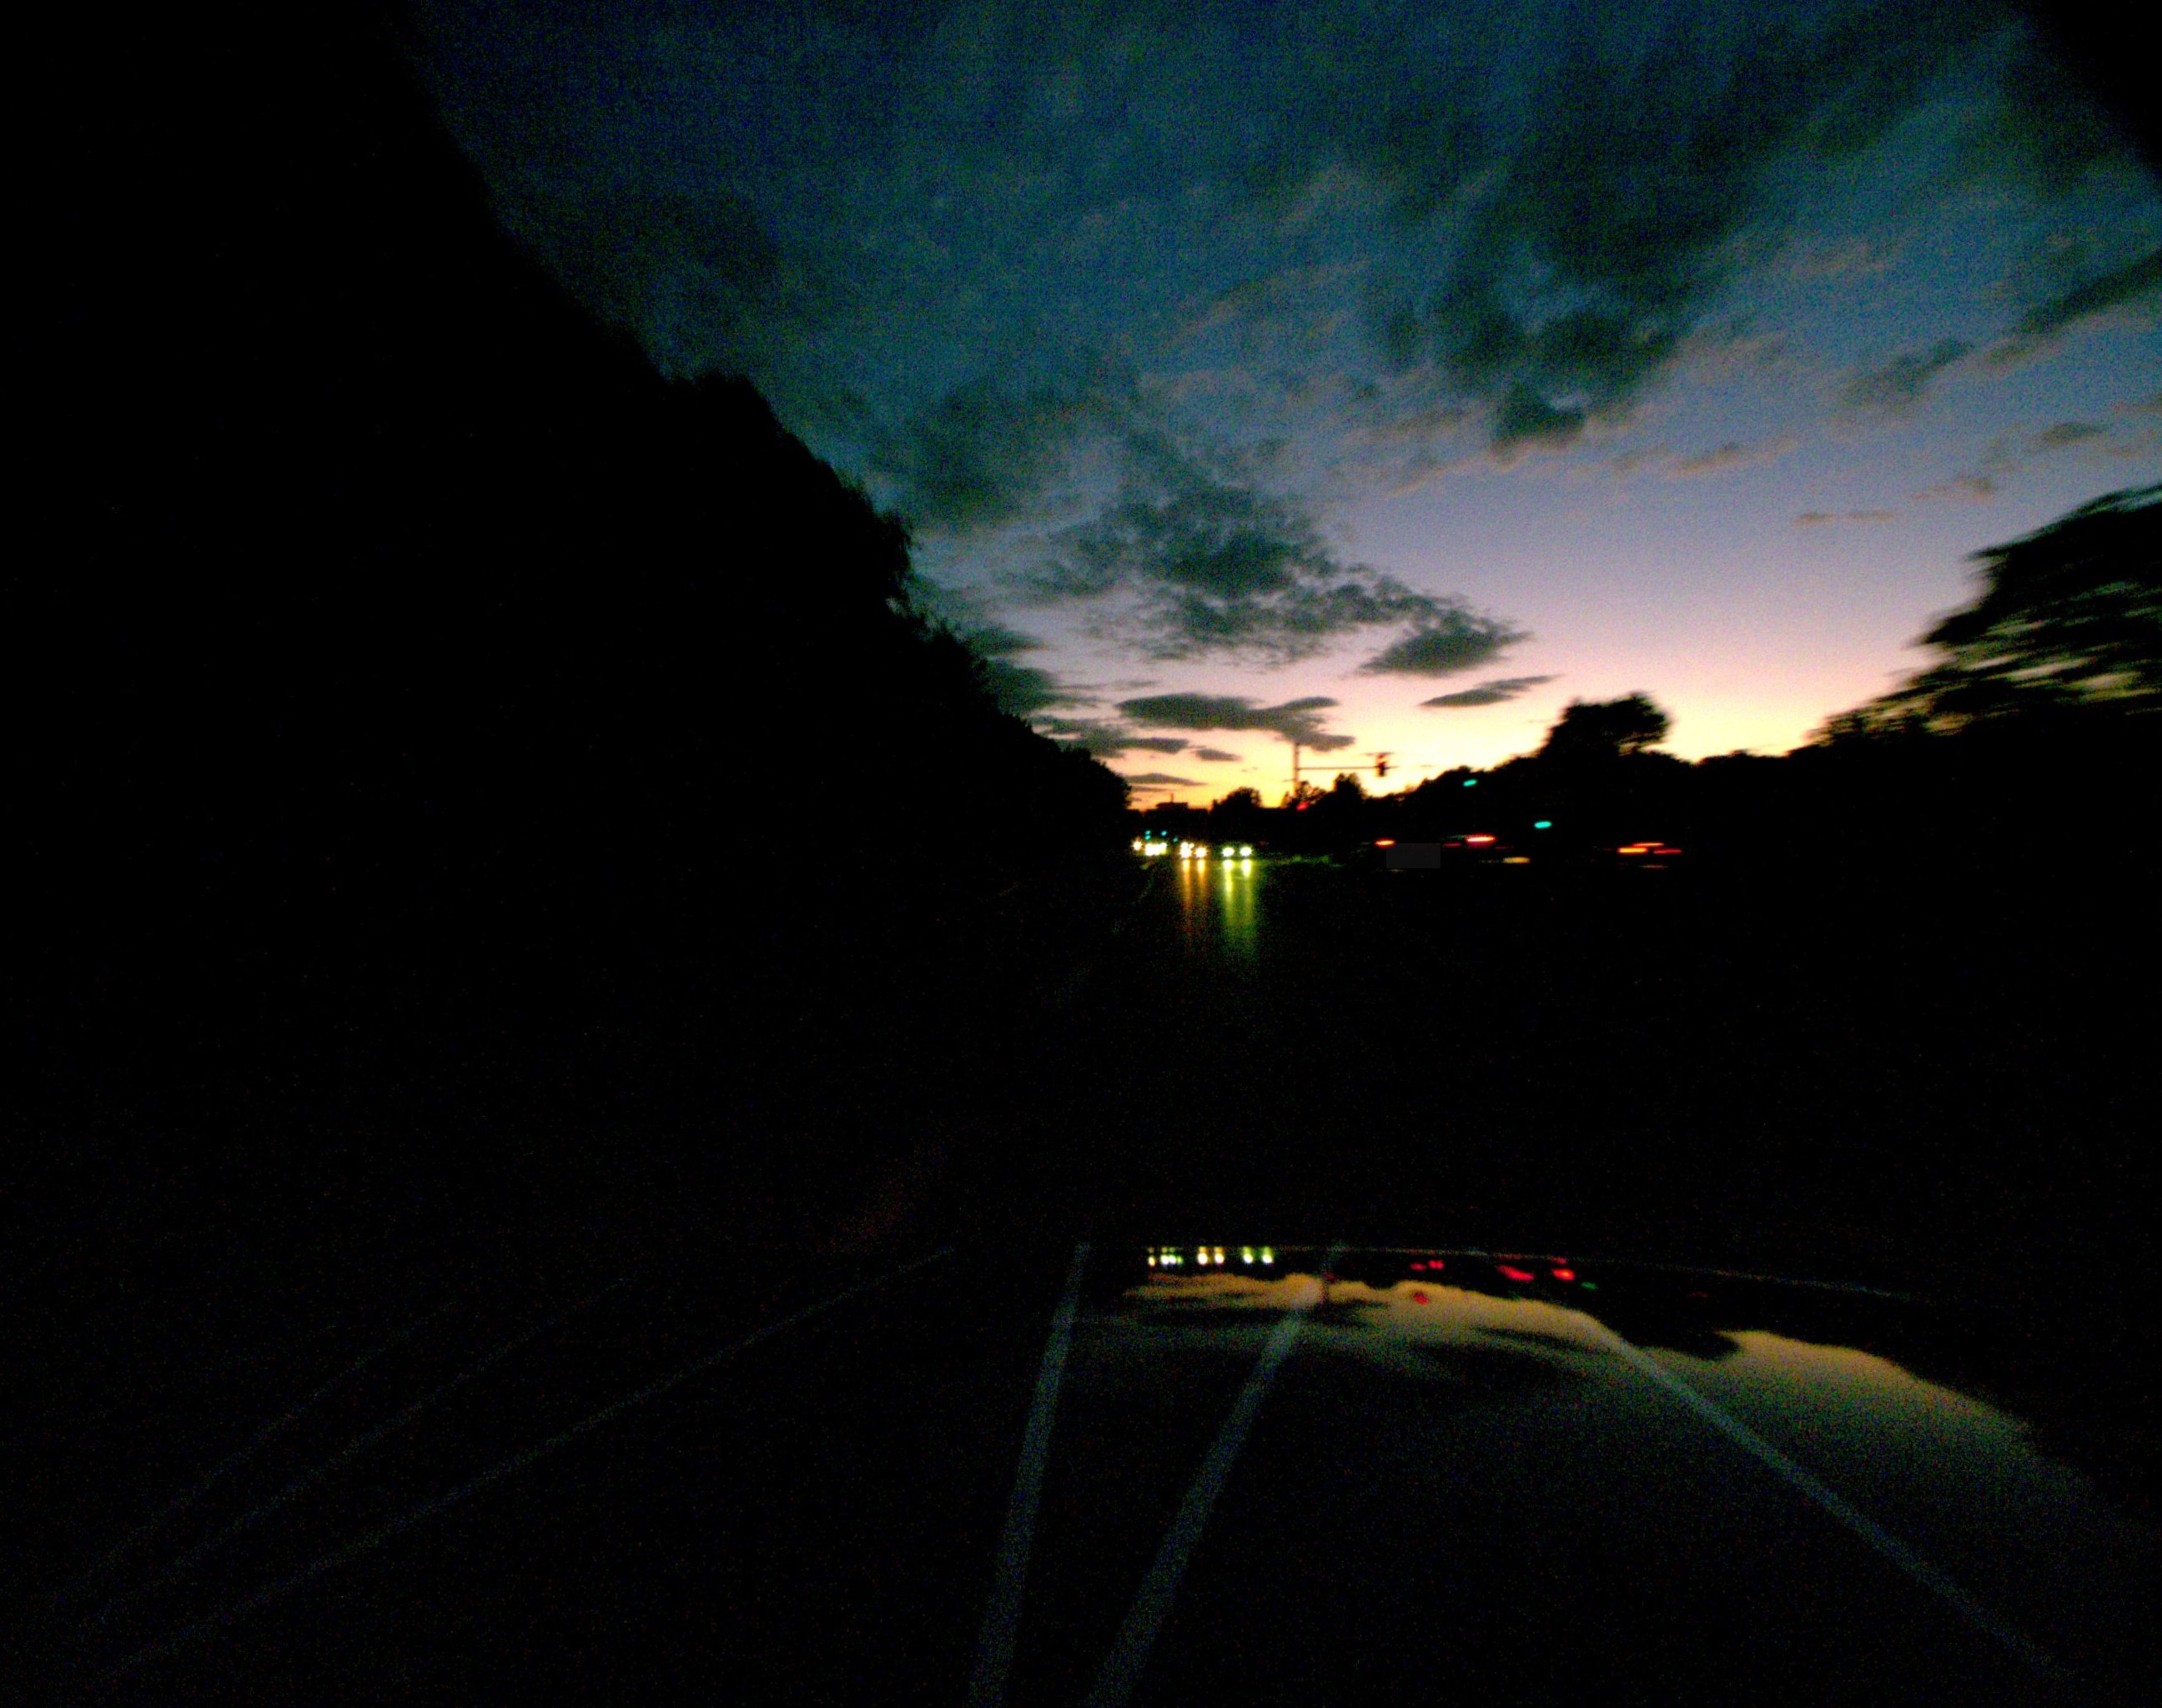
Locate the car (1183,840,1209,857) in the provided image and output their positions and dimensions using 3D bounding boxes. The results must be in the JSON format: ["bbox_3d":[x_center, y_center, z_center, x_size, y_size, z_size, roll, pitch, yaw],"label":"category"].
[{"bbox_3d":[10.248,-0.490,68.015,1.998,1.445,4.001,1,1,5],"label":"car"}]

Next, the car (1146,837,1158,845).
[{"bbox_3d":[15.292,-2.847,163.769,1.999,1.587,3.998,-1,1,-1],"label":"car"}]

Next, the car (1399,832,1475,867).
[{"bbox_3d":[18.439,-0.303,39.592,1.998,1.672,4.873,0,2,5],"label":"car"}]

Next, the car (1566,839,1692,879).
[{"bbox_3d":[21.524,0.148,30.119,1.997,1.445,4.736,0,1,7],"label":"car"}]

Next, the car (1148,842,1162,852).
[{"bbox_3d":[13.141,-1.189,135.270,2.006,1.718,4.003,-1,1,12],"label":"car"}]

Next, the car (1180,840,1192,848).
[{"bbox_3d":[22.035,-2.070,159.259,2.056,1.587,4.003,-1,1,13],"label":"car"}]

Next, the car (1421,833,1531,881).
[{"bbox_3d":[13.987,0.037,27.263,1.997,1.561,4.824,0,1,8],"label":"car"}]

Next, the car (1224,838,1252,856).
[{"bbox_3d":[13.277,-0.638,64.335,1.997,1.445,4.736,-1,2,8],"label":"car"}]

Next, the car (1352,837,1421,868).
[{"bbox_3d":[15.057,-0.119,37.763,1.997,1.445,5.049,0,1,7],"label":"car"}]

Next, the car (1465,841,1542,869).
[{"bbox_3d":[22.980,0.040,41.569,1.997,1.445,4.736,0,1,6],"label":"car"}]
